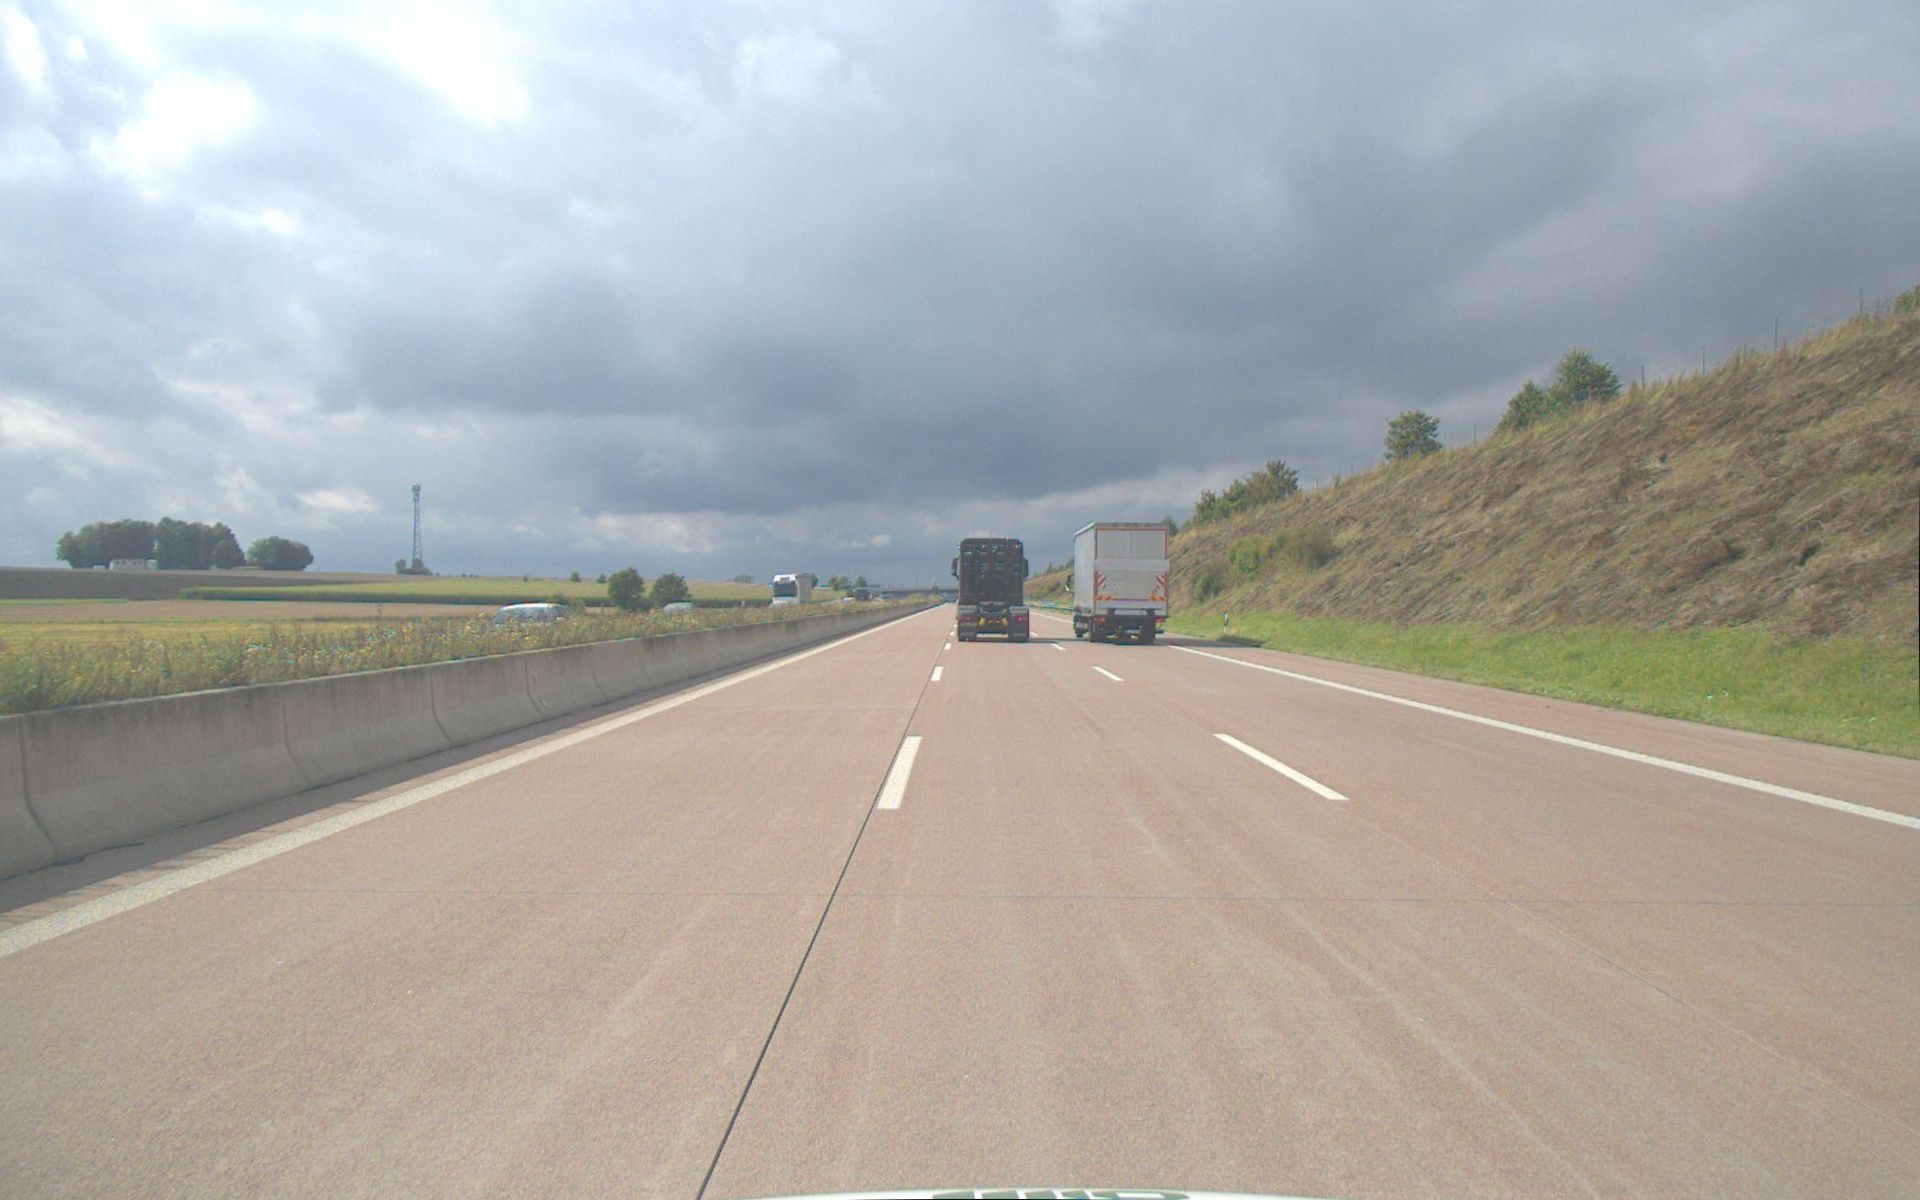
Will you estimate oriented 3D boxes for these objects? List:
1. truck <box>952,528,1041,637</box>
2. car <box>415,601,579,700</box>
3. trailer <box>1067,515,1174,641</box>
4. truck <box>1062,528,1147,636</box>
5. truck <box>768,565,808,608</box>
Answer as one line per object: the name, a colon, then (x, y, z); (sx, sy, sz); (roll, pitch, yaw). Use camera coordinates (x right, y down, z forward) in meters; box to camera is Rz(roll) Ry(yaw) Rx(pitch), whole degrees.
truck: (1.208, -0.572, 59.290); (2.790, 3.612, 8.317); (1, 0, -1)
car: (-10.016, 1.019, 36.290); (1.953, 1.942, 5.884); (-2, 0, -1)
trailer: (5.558, -0.707, 58.566); (2.692, 4.082, 8.667); (1, 0, -2)
truck: (5.433, -0.656, 62.921); (2.693, 3.960, 4.544); (1, 0, -2)
truck: (-16.942, -1.352, 163.658); (3.140, 4.170, 6.127); (1, 0, 1)
